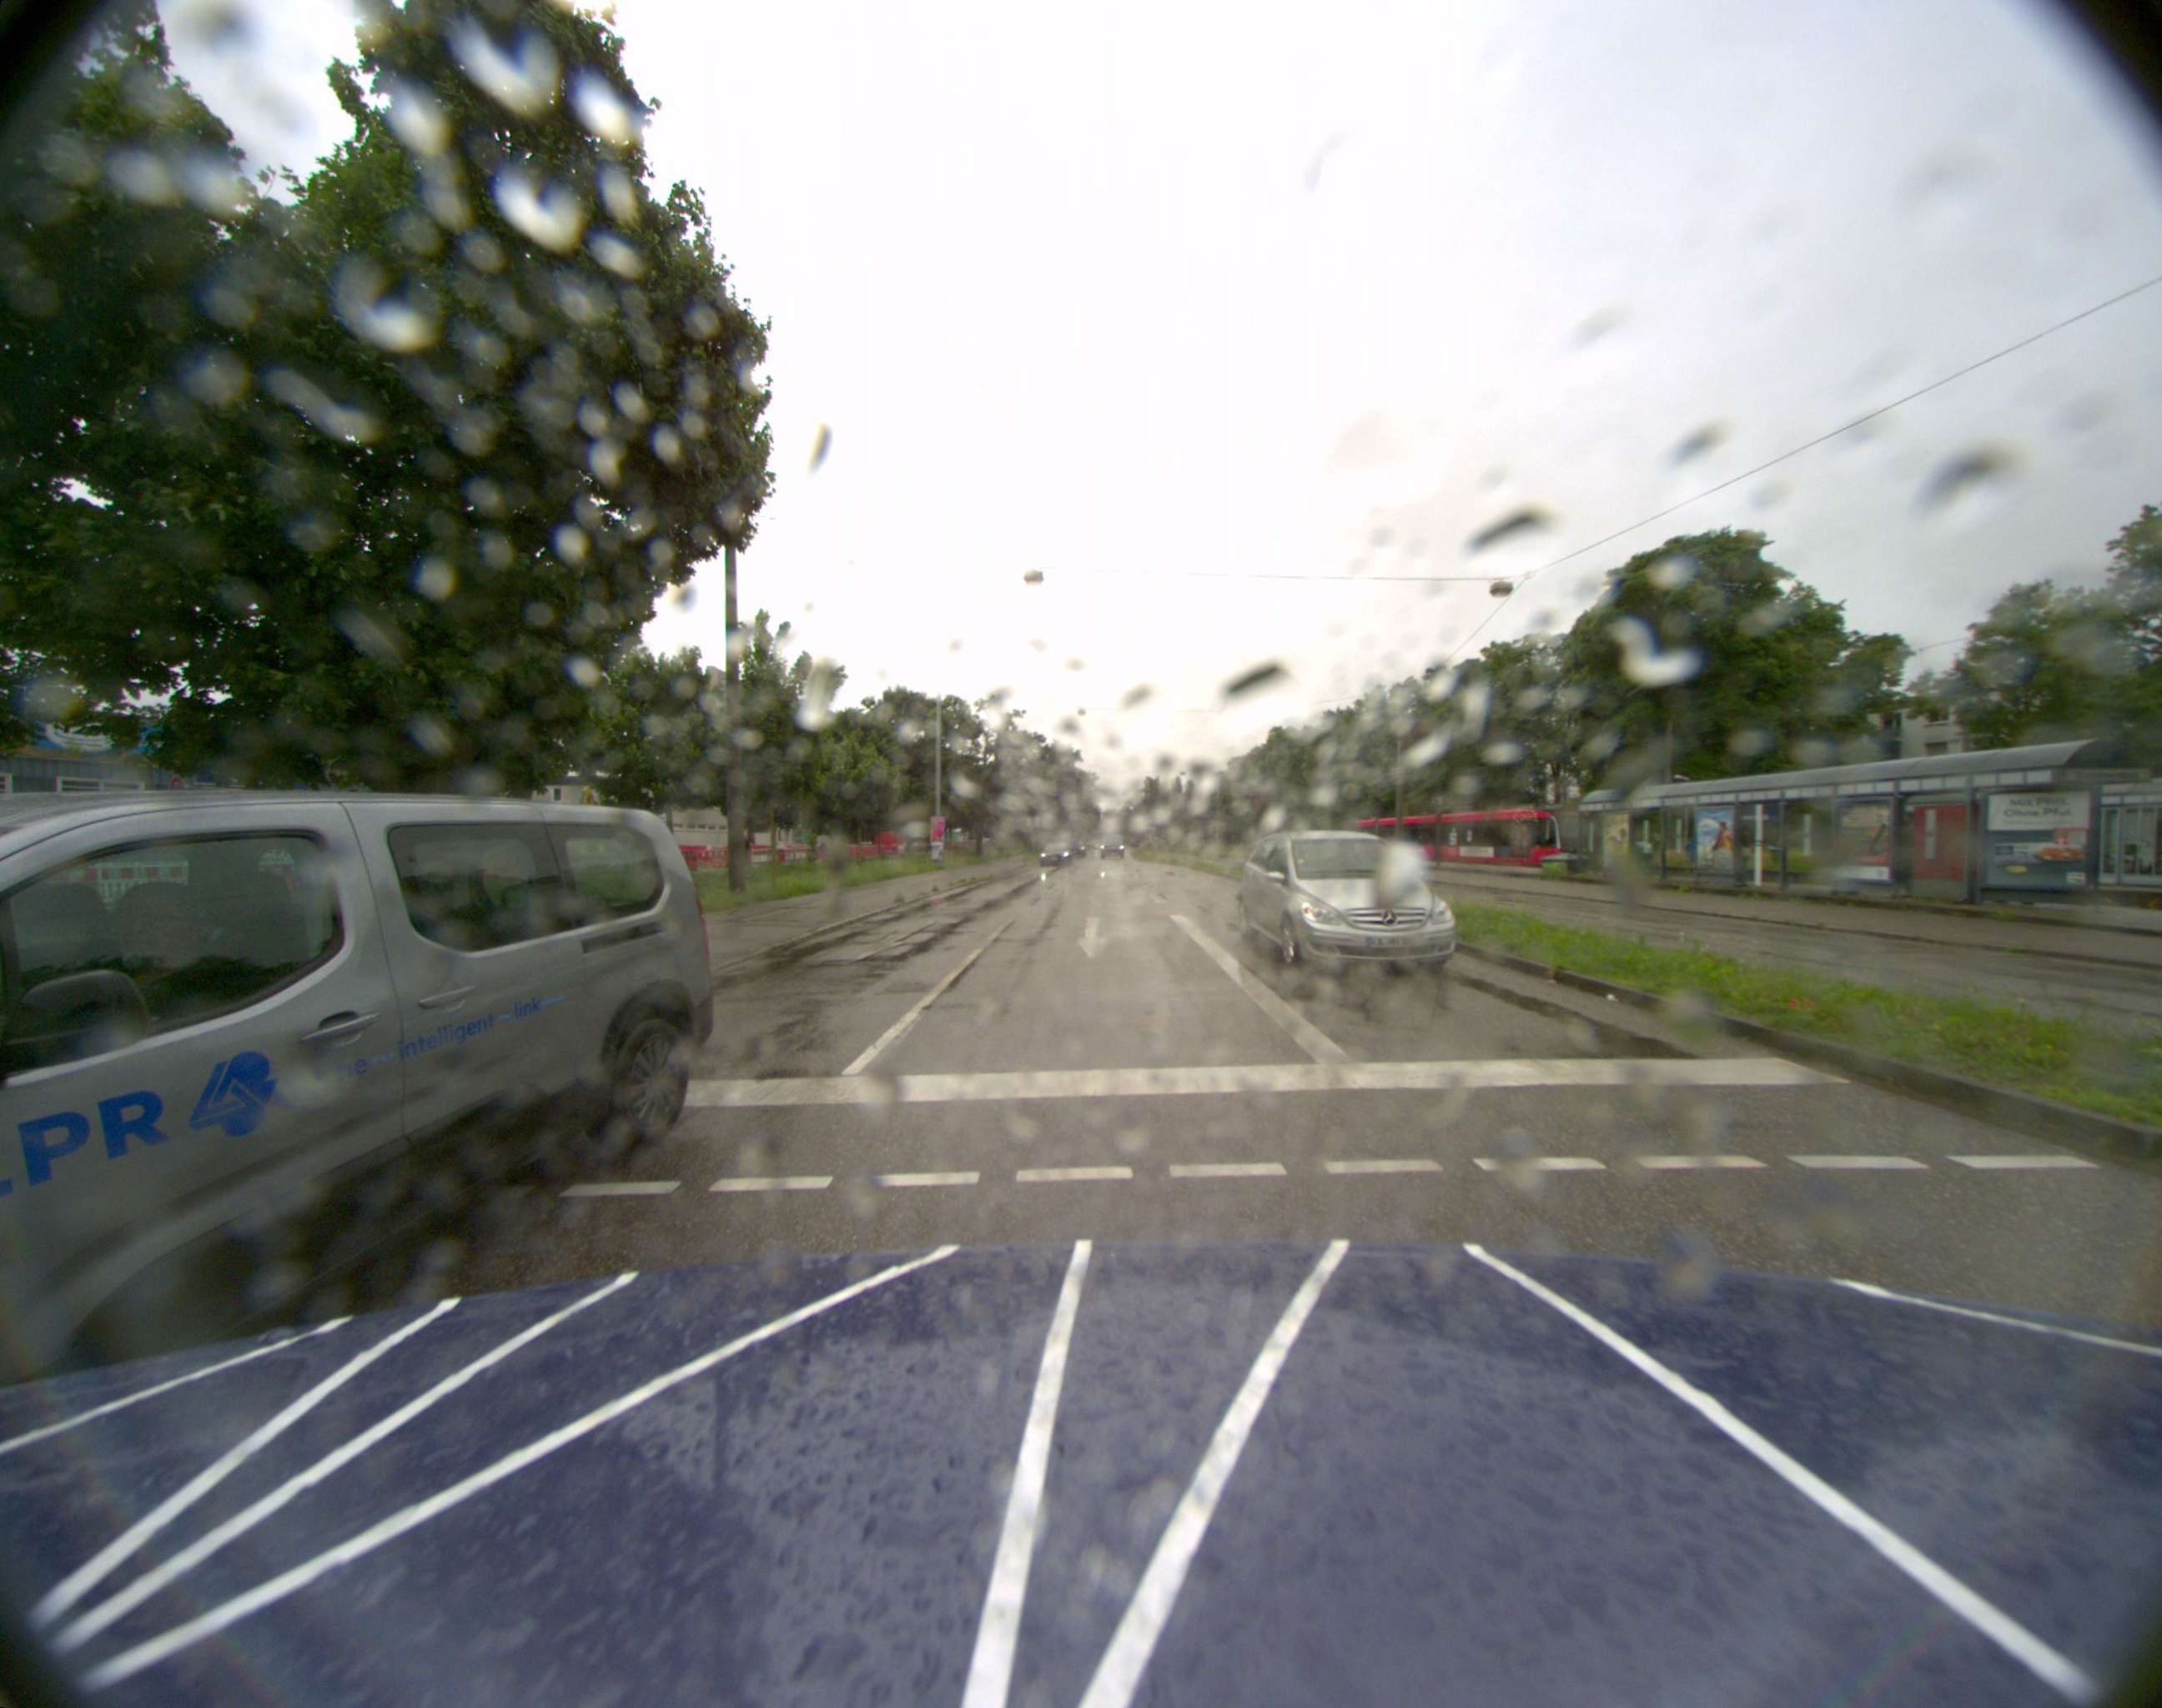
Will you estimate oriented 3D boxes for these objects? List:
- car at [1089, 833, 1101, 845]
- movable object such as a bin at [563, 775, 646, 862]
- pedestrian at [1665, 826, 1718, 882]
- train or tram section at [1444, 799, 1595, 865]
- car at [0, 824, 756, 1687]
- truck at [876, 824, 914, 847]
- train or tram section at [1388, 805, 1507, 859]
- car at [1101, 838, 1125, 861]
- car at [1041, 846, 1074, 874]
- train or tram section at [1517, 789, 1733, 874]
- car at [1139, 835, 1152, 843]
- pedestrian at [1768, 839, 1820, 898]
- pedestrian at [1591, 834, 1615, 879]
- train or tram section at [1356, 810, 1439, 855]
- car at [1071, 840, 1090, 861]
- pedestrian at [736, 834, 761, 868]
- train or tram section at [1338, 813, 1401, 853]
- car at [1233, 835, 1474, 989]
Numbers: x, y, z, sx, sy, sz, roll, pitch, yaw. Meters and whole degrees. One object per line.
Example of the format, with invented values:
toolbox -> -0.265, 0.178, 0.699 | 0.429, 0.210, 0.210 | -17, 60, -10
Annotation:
car -> 2.165, -2.283, 115.504 | 1.726, 1.643, 3.999 | -2, 2, 1
movable object such as a bin -> -25.392, -1.864, 40.674 | 1.557, 4.402, 3.908 | -2, 2, 3
pedestrian -> 17.884, -0.014, 22.284 | 0.806, 1.588, 0.928 | 0, 2, 4
train or tram section -> 24.753, -1.259, 43.687 | 3.541, 3.371, 9.276 | 0, 2, 2
car -> -3.236, 0.822, 2.767 | 1.998, 1.786, 4.561 | -2, 2, 1
truck -> -25.151, -2.521, 103.056 | 2.811, 2.883, 8.747 | -2, 2, 1
train or tram section -> 25.037, -1.491, 52.739 | 3.541, 3.382, 10.259 | 0, 2, 2
car -> 2.628, -0.383, 62.858 | 1.812, 1.683, 3.776 | -2, 2, 2
car -> -1.459, 0.337, 48.704 | 1.858, 1.583, 3.998 | -2, 2, 0
train or tram section -> 24.462, -1.018, 35.115 | 3.541, 3.371, 9.276 | 0, 2, 2
car -> 10.456, -2.424, 122.524 | 1.684, 1.353, 4.250 | 2, 2, 0
pedestrian -> 17.871, 0.358, 19.063 | 0.627, 1.445, 0.699 | 0, 2, 3
pedestrian -> 18.172, 0.081, 26.439 | 0.522, 1.553, 0.602 | -1, 3, 16
train or tram section -> 25.314, -1.712, 61.304 | 3.541, 3.393, 7.901 | 0, 2, 2
car -> -0.059, -0.348, 68.403 | 1.651, 1.653, 3.775 | -2, 2, -1
pedestrian -> -19.259, -0.185, 44.042 | 0.814, 1.925, 1.212 | -2, 2, 0
train or tram section -> 25.522, -1.865, 67.603 | 3.541, 3.399, 5.768 | 0, 2, 2
car -> 3.201, 0.551, 9.816 | 1.740, 1.535, 4.012 | -1, 2, 1
